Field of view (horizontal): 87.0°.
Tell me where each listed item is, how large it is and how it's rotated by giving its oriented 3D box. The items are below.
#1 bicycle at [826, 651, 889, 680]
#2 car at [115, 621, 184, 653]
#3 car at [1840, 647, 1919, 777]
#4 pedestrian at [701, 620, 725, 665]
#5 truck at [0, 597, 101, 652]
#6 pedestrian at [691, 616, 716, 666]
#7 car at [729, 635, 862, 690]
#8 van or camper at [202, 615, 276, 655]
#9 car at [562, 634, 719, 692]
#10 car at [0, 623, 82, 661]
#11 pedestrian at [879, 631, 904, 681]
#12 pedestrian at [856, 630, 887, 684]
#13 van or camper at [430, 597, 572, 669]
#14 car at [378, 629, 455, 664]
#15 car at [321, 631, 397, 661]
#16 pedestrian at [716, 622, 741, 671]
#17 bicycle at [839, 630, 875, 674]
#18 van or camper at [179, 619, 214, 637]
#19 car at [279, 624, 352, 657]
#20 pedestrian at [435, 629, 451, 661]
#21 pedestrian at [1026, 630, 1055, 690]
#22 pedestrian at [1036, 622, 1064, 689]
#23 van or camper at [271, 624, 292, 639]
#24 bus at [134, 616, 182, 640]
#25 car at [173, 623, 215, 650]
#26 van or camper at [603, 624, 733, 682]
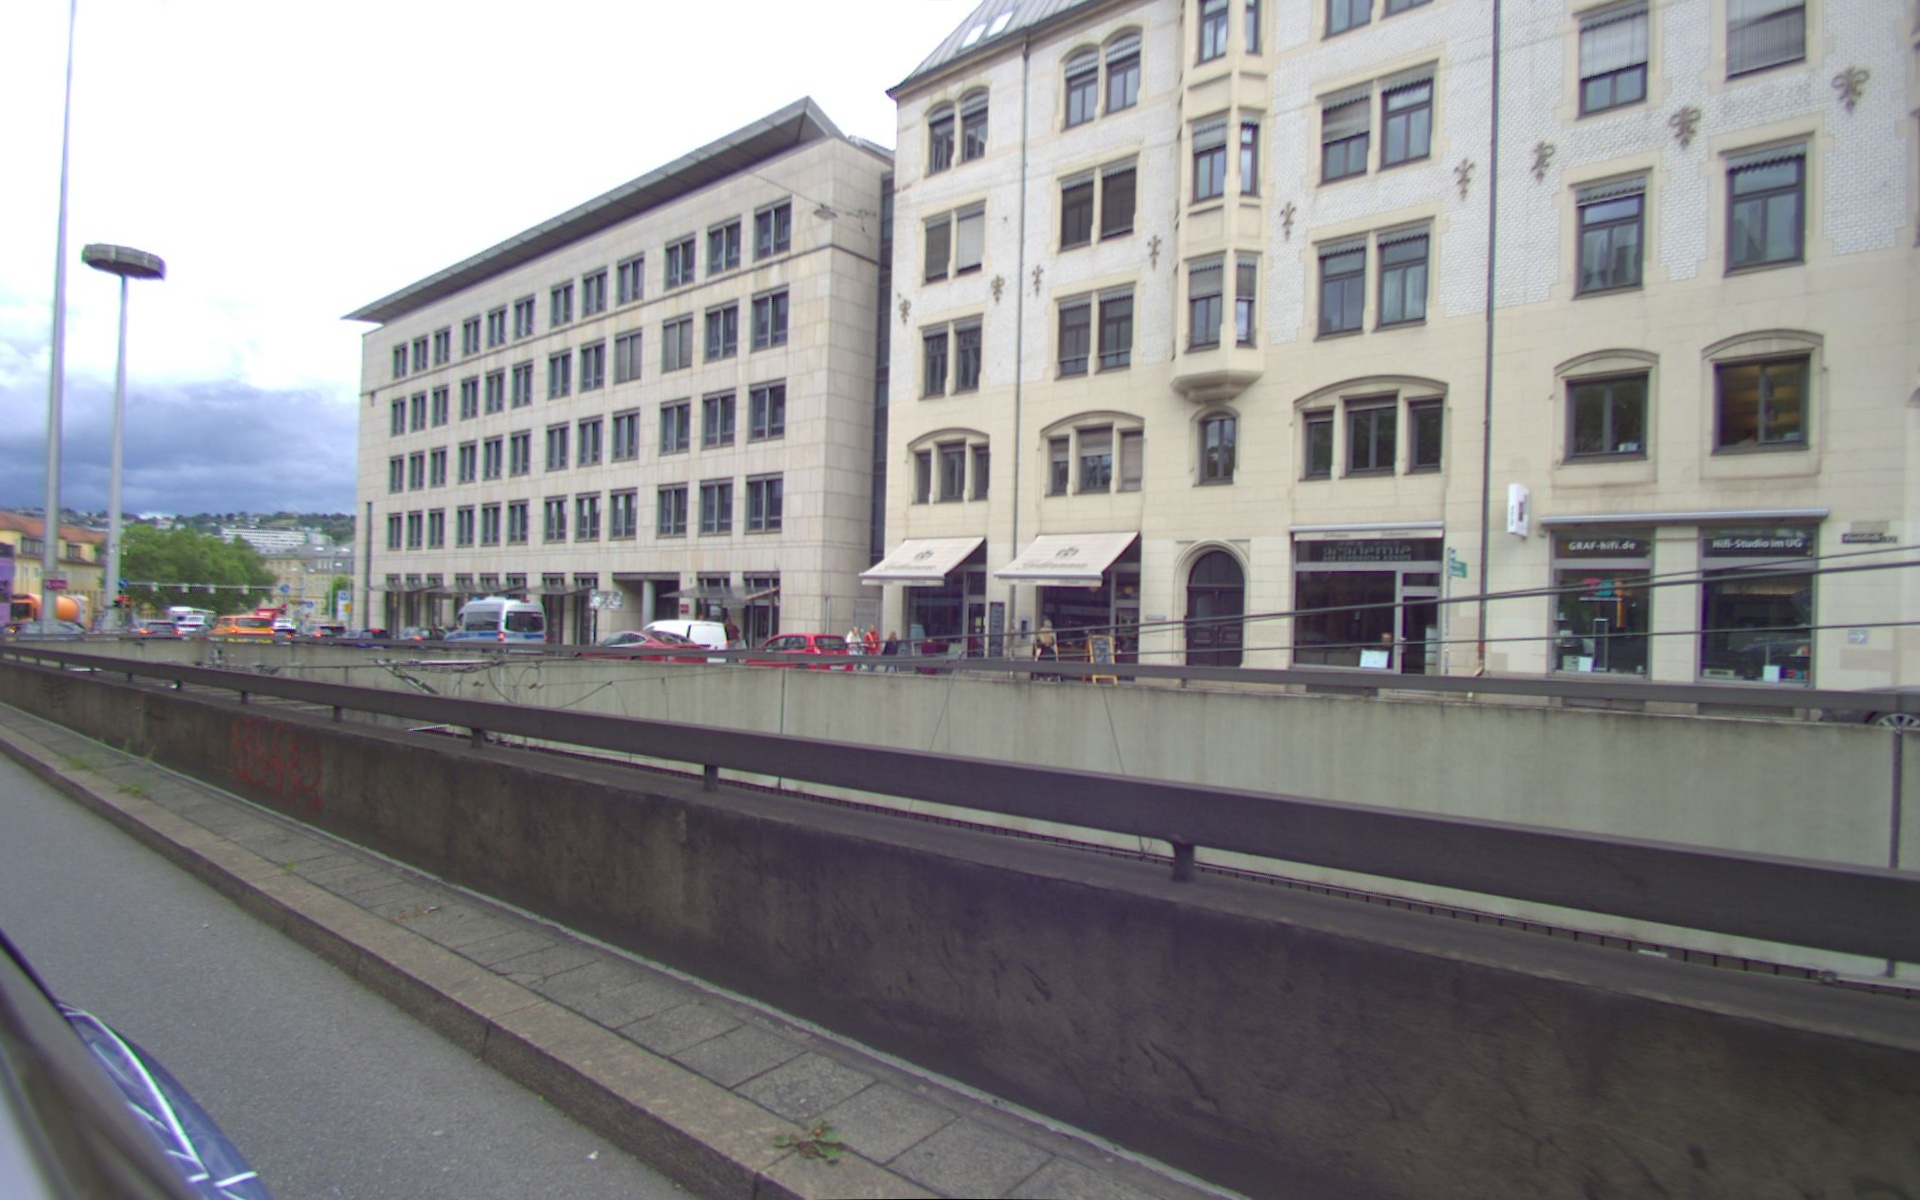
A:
[{"bbox_3d":[-3.017,1.912,29.700,1.955,0.768,0.626,-1,-3,38],"label":"bicycle"},{"bbox_3d":[-41.477,1.869,51.742,4.538,1.538,1.899,-1,-2,40],"label":"car"},{"bbox_3d":[13.879,1.411,12.179,4.887,1.598,1.971,-1,-3,43],"label":"car"},{"bbox_3d":[-8.894,1.526,36.398,0.679,1.589,0.546,-1,-2,39],"label":"pedestrian"},{"bbox_3d":[-69.851,1.761,76.753,2.685,3.643,9.196,2,1,-8],"label":"truck"},{"bbox_3d":[-9.650,1.544,38.101,0.679,1.889,0.610,-2,-3,40],"label":"pedestrian"},{"bbox_3d":[-4.683,1.730,28.617,3.579,1.416,1.769,-1,-3,39],"label":"car"},{"bbox_3d":[-37.576,1.791,52.672,5.080,1.936,1.893,-1,-4,41],"label":"van or camper"},{"bbox_3d":[-9.083,1.709,28.563,4.883,1.476,1.973,-1,-3,41],"label":"car"},{"bbox_3d":[-37.564,1.640,39.831,4.494,1.469,1.884,2,-2,-41],"label":"car"},{"bbox_3d":[-2.080,1.703,30.896,0.541,1.486,0.543,-1,-2,41],"label":"pedestrian"},{"bbox_3d":[-2.645,1.687,30.300,0.712,1.593,0.576,-1,-2,41],"label":"pedestrian"},{"bbox_3d":[-18.989,1.363,41.733,6.242,2.747,2.971,-1,-3,41],"label":"van or camper"},{"bbox_3d":[-25.027,2.120,46.559,4.028,1.460,1.750,-1,-4,41],"label":"car"},{"bbox_3d":[-30.171,2.282,50.742,4.571,1.406,1.972,-1,-2,42],"label":"car"},{"bbox_3d":[-8.489,1.716,37.117,0.679,1.767,0.546,-2,-3,39],"label":"pedestrian"},{"bbox_3d":[-3.027,1.530,29.747,0.843,1.270,0.626,-1,-2,37],"label":"bicycle"},{"bbox_3d":[-101.361,3.704,134.429,2.334,2.280,6.308,3,-3,-25],"label":"van or camper"},{"bbox_3d":[-34.860,2.183,54.702,4.680,1.658,1.973,-1,-4,41],"label":"car"},{"bbox_3d":[-26.557,2.312,52.020,0.627,1.636,0.494,-1,-3,40],"label":"pedestrian"},{"bbox_3d":[2.132,1.578,26.728,0.583,1.549,0.474,-2,-4,42],"label":"pedestrian"},{"bbox_3d":[2.419,1.479,27.150,0.583,1.770,0.474,-2,-4,42],"label":"pedestrian"},{"bbox_3d":[-94.184,4.391,140.549,1.834,1.931,4.728,3,-3,-28],"label":"van or camper"},{"bbox_3d":[-113.662,4.010,143.636,3.376,3.228,13.102,2,-2,-30],"label":"bus"},{"bbox_3d":[-46.810,2.227,61.898,1.711,1.611,4.330,2,-3,-34],"label":"car"},{"bbox_3d":[-9.576,1.668,33.040,4.483,1.765,1.849,-1,-2,40],"label":"van or camper"}]
